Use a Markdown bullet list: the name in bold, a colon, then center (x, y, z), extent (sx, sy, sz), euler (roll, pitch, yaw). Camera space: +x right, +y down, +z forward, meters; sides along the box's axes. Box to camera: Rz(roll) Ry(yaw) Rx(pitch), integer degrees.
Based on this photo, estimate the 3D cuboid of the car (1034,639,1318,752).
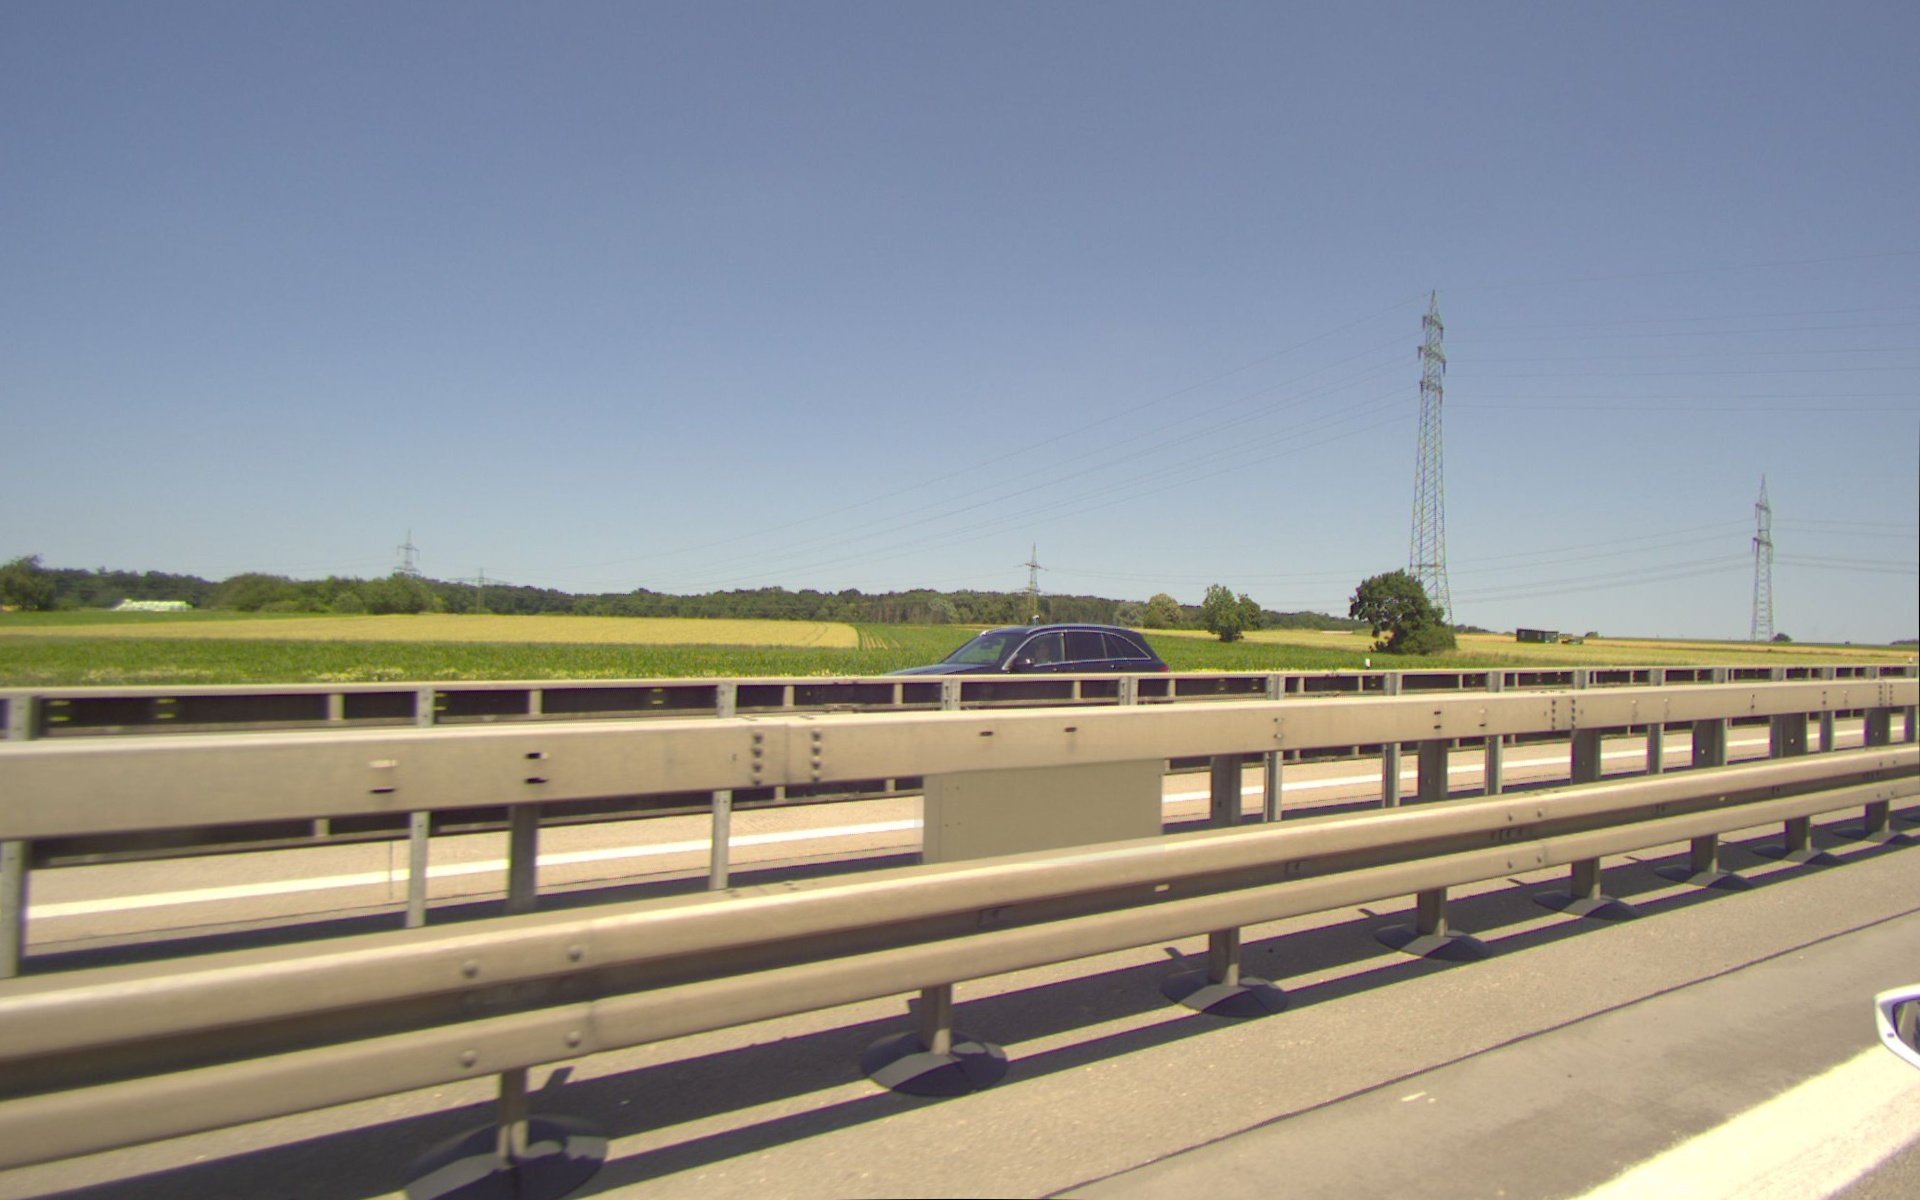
- **car**: center (3.233, 1.335, 14.896), extent (3.953, 1.463, 1.811), euler (2, -3, -30)
